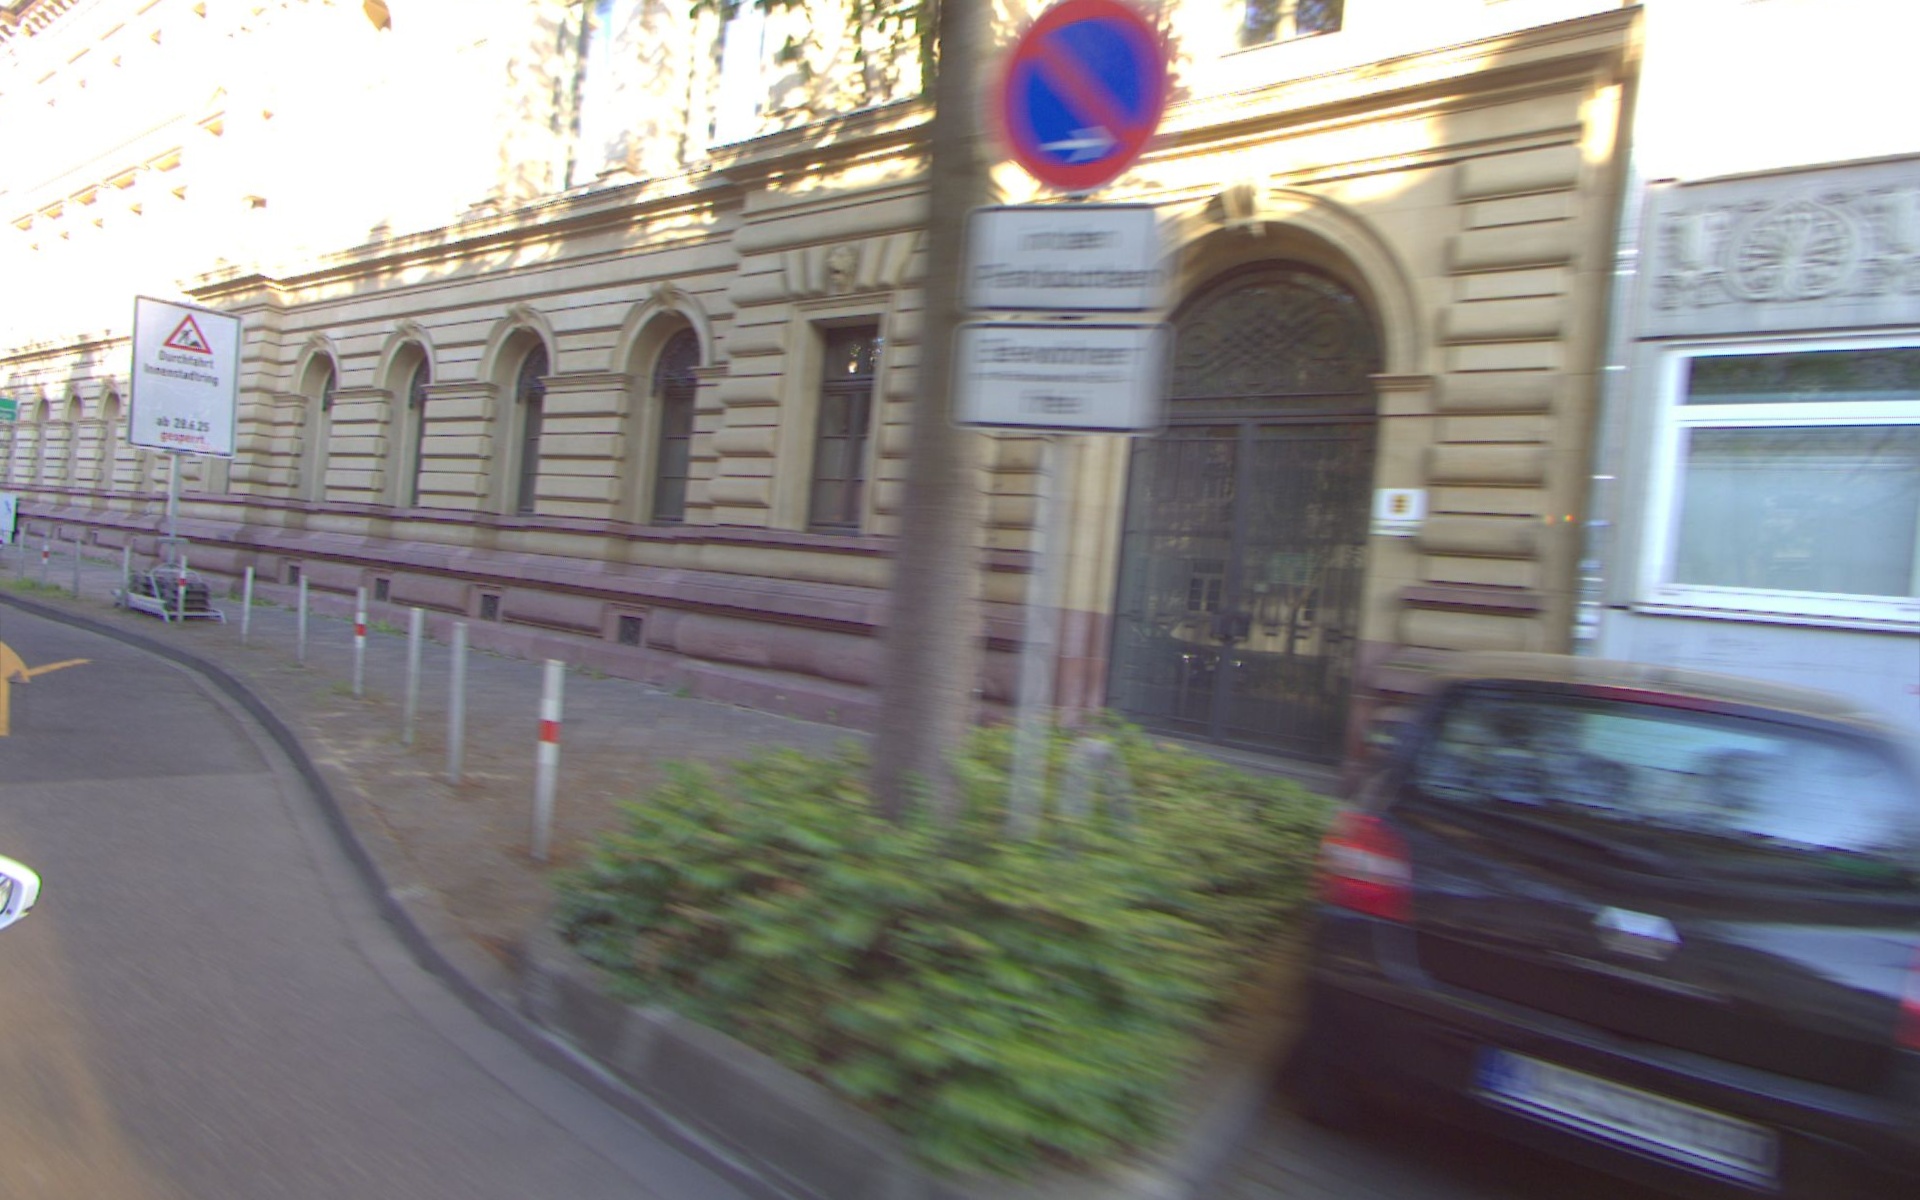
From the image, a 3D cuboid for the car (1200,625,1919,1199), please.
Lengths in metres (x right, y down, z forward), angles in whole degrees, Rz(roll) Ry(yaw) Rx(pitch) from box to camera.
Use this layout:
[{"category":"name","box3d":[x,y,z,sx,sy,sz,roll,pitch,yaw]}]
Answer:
[{"category":"car","box3d":[2.576,0.934,4.178,1.803,1.484,4.359,6,2,30]}]
